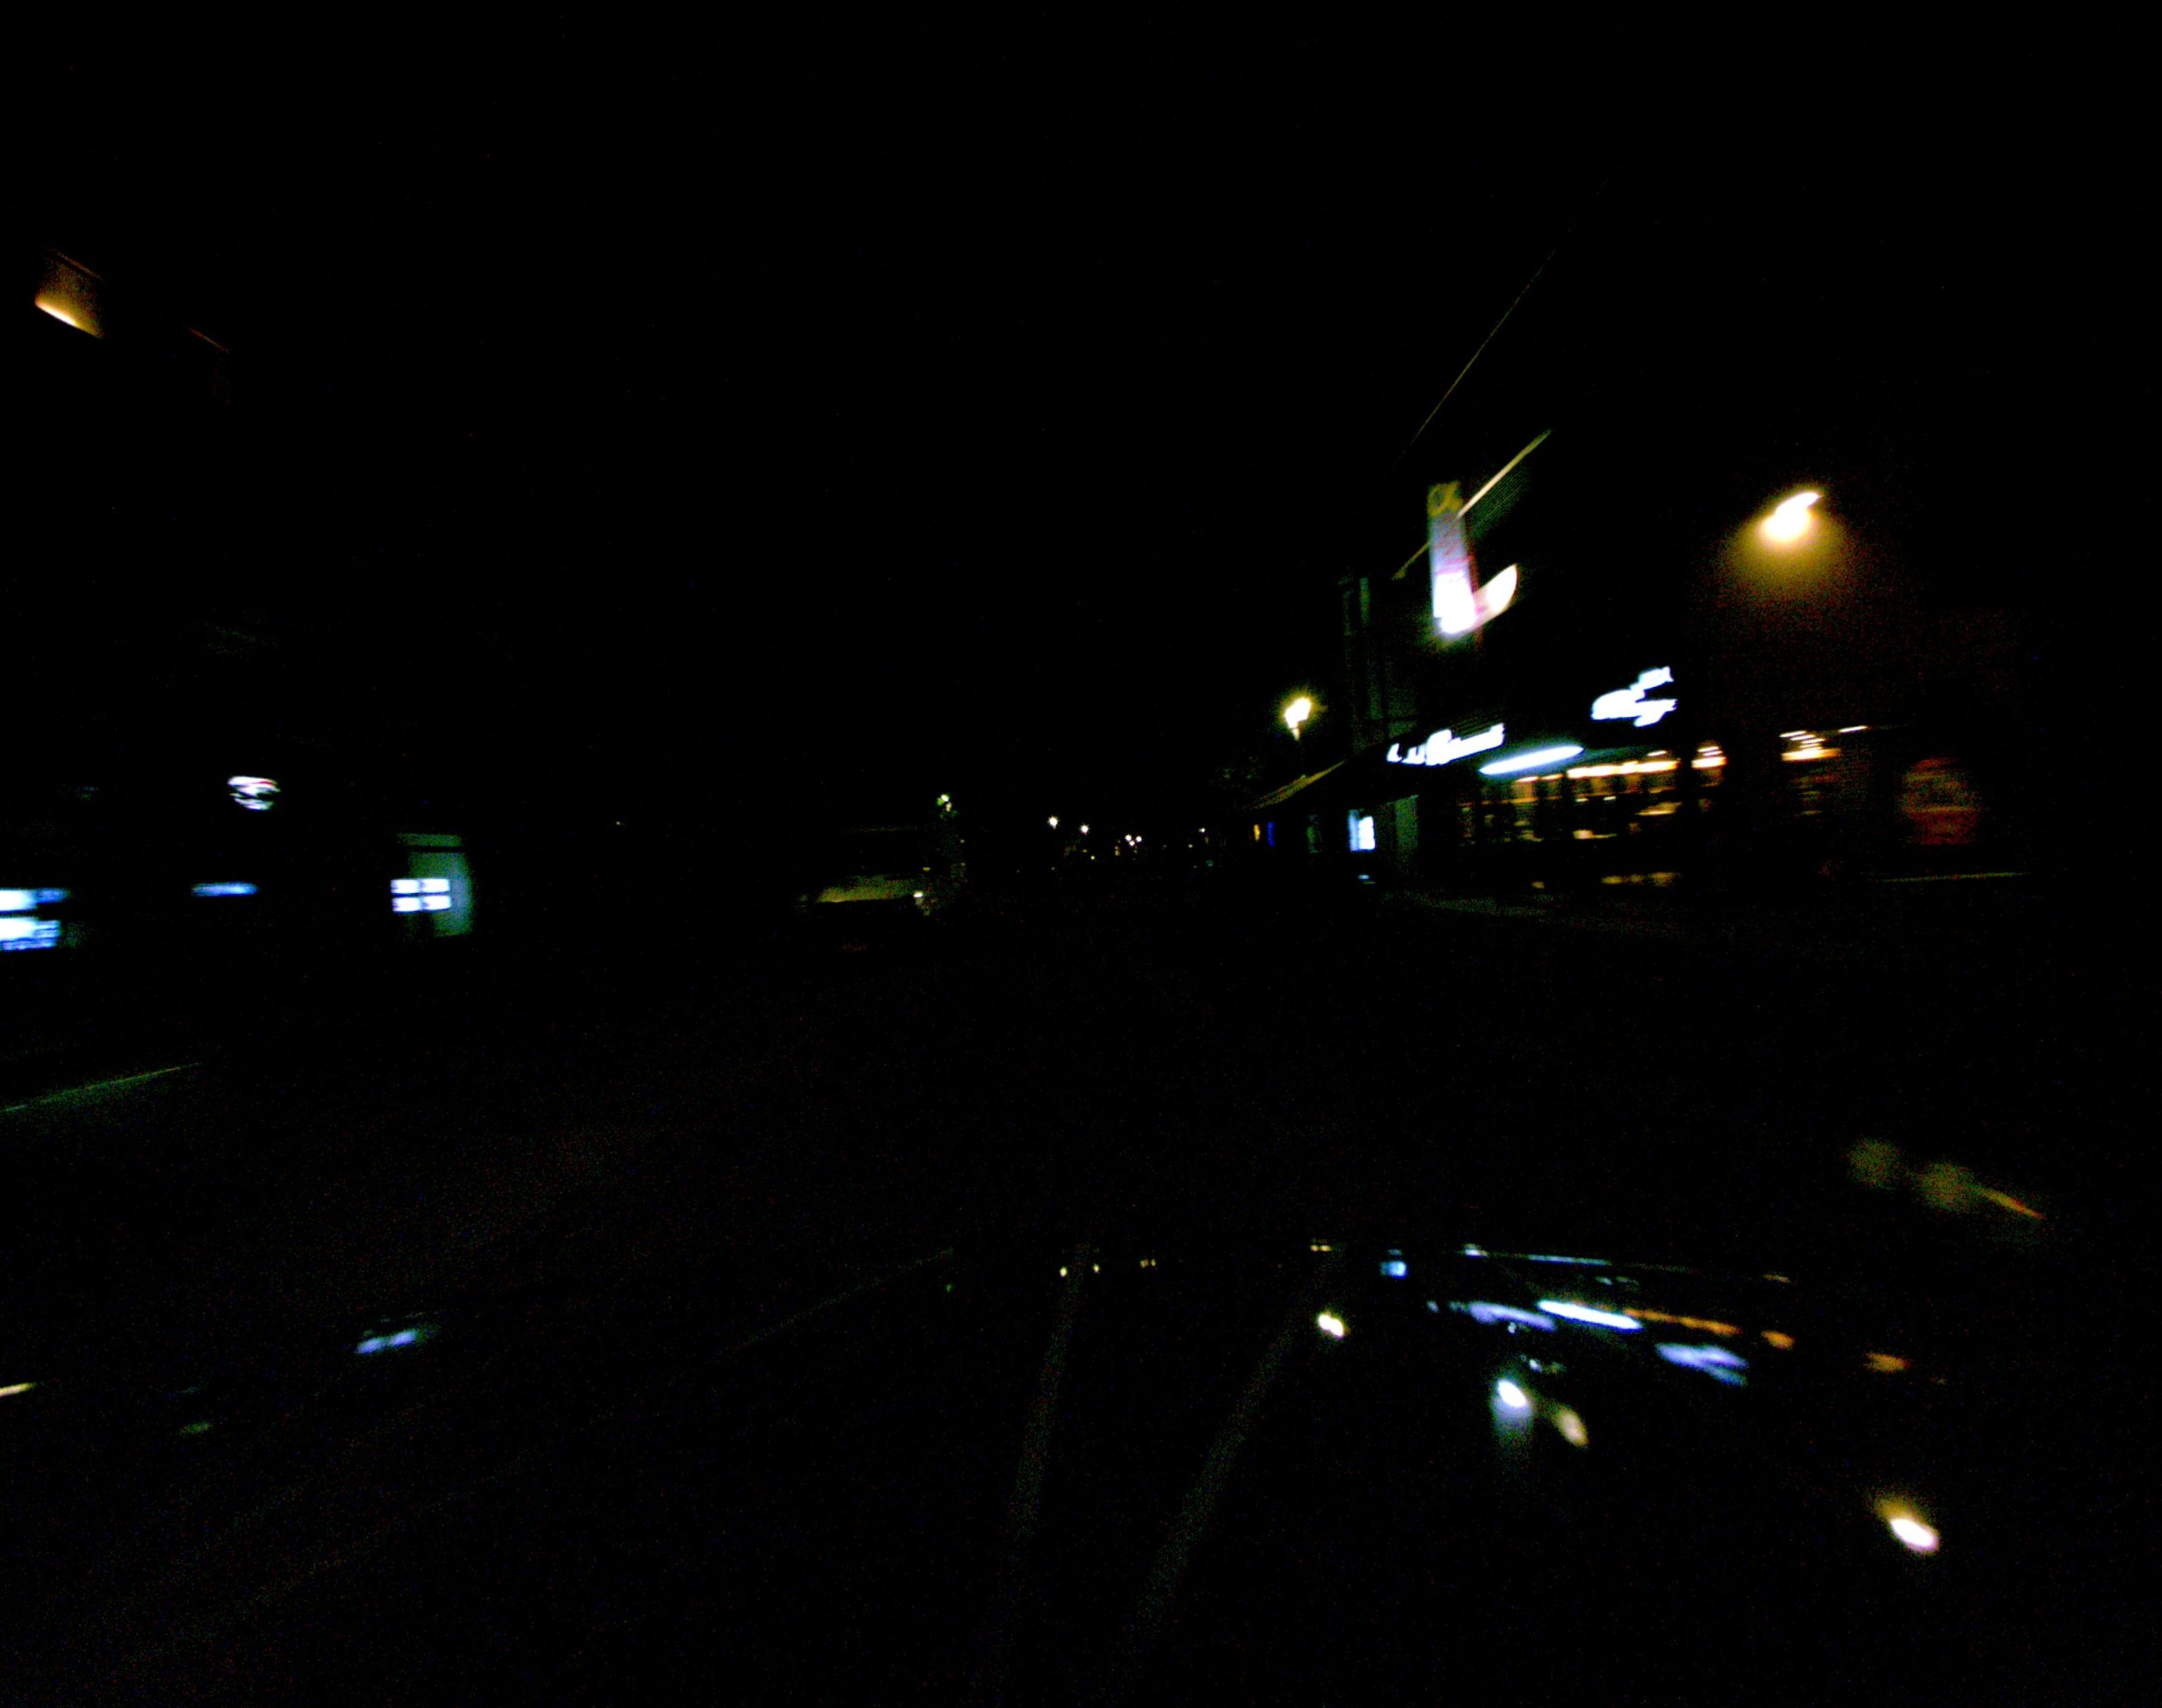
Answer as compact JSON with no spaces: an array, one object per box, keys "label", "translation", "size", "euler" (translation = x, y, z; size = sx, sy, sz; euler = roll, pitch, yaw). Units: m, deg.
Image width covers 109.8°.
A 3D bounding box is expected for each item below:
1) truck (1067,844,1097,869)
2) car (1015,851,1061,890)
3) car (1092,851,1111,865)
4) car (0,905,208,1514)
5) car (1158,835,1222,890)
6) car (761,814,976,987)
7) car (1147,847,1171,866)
[{"label":"truck","translation":[0.132,0.212,74.429],"size":[2.109,2.230,6.290],"euler":[-3,0,7]},{"label":"car","translation":[-2.163,0.805,39.401],"size":[1.912,1.792,4.937],"euler":[-4,0,1]},{"label":"car","translation":[2.375,0.410,88.607],"size":[1.737,1.493,4.002],"euler":[-3,0,7]},{"label":"car","translation":[-3.885,1.050,0.436],"size":[1.688,1.649,4.297],"euler":[-4,0,0]},{"label":"car","translation":[4.500,0.315,32.048],"size":[1.929,1.953,5.077],"euler":[-5,0,1]},{"label":"car","translation":[-3.347,0.653,13.266],"size":[2.139,2.313,5.151],"euler":[-4,0,0]},{"label":"car","translation":[7.135,0.207,69.640],"size":[1.795,1.496,4.000],"euler":[-4,0,2]}]
